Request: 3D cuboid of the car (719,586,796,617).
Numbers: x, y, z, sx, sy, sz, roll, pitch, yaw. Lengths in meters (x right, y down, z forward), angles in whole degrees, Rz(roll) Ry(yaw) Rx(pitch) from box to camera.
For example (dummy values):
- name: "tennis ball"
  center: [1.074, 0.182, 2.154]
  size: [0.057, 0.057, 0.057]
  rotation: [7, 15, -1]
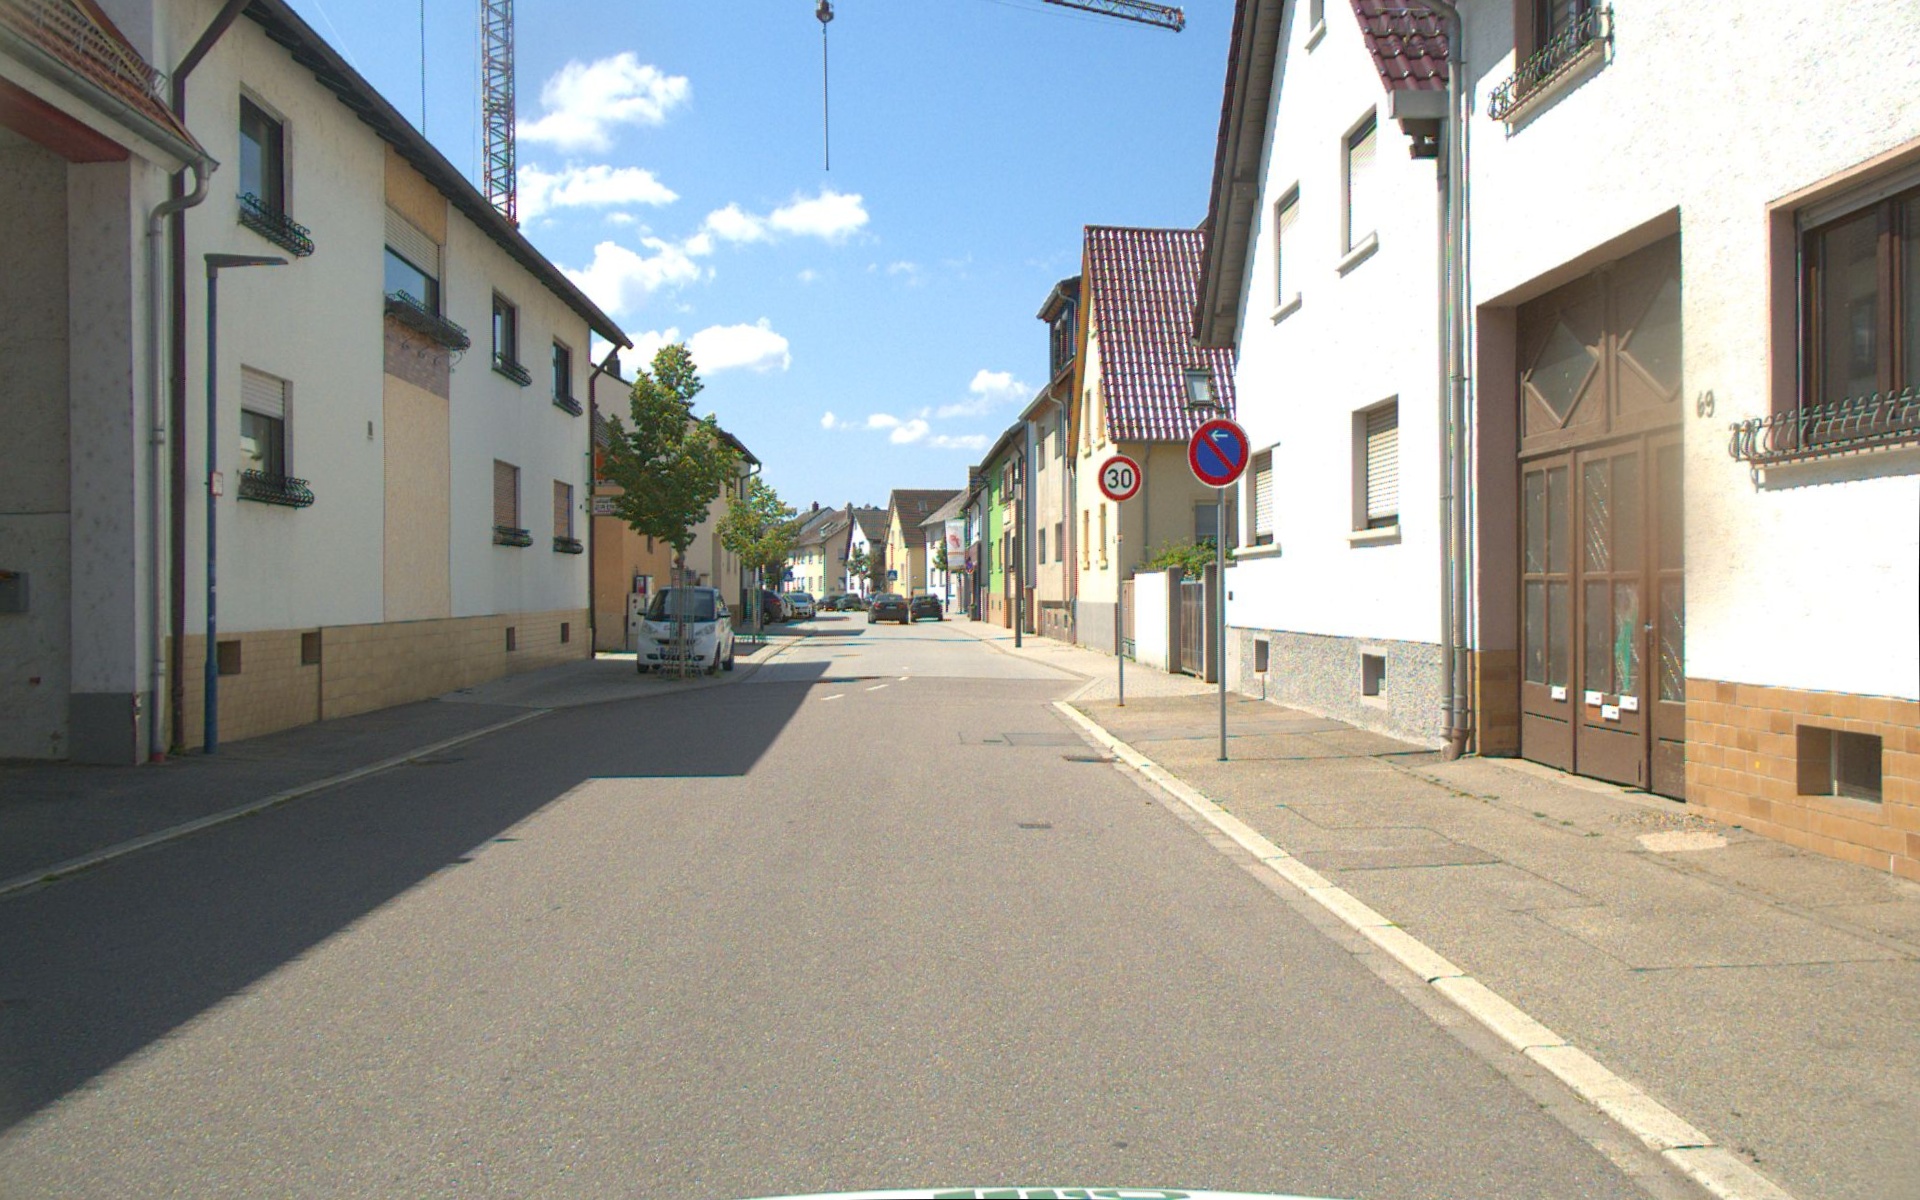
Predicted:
- name: "car"
  center: [-10.849, 0.099, 88.852]
  size: [3.908, 1.467, 1.690]
  rotation: [3, 0, -3]

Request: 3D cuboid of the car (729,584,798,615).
- name: "car"
  center: [-10.894, -0.025, 91.862]
  size: [3.618, 1.552, 1.672]
  rotation: [2, 0, -2]

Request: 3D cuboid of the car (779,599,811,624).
- name: "car"
  center: [-9.940, 0.692, 99.918]
  size: [1.722, 1.435, 3.876]
  rotation: [2, 0, -3]

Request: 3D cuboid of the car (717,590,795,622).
- name: "car"
  center: [-10.670, 0.309, 86.541]
  size: [3.822, 1.529, 1.750]
  rotation: [2, 0, -2]

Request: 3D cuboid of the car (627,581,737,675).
- name: "car"
  center: [-5.087, 0.492, 30.546]
  size: [1.540, 1.588, 2.821]
  rotation: [2, 0, -1]

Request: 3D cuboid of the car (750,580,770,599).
- name: "car"
  center: [-21.572, -1.158, 178.272]
  size: [1.957, 2.049, 3.992]
  rotation: [0, 0, -9]

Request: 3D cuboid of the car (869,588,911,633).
- name: "car"
  center: [-3.479, 0.494, 81.195]
  size: [1.954, 2.094, 4.371]
  rotation: [-1, 0, -4]

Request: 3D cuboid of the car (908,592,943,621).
- name: "car"
  center: [-1.877, 0.319, 91.347]
  size: [1.820, 1.484, 4.585]
  rotation: [-2, 0, -1]

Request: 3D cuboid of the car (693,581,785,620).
- name: "car"
  center: [-10.466, 0.015, 78.606]
  size: [4.135, 1.687, 1.783]
  rotation: [2, 0, -4]

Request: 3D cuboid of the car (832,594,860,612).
- name: "car"
  center: [-10.145, 0.234, 147.443]
  size: [1.816, 1.590, 3.679]
  rotation: [-1, 0, -15]

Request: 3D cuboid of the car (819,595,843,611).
- name: "car"
  center: [-12.078, 0.256, 154.811]
  size: [1.682, 1.411, 3.691]
  rotation: [-1, 0, -15]
